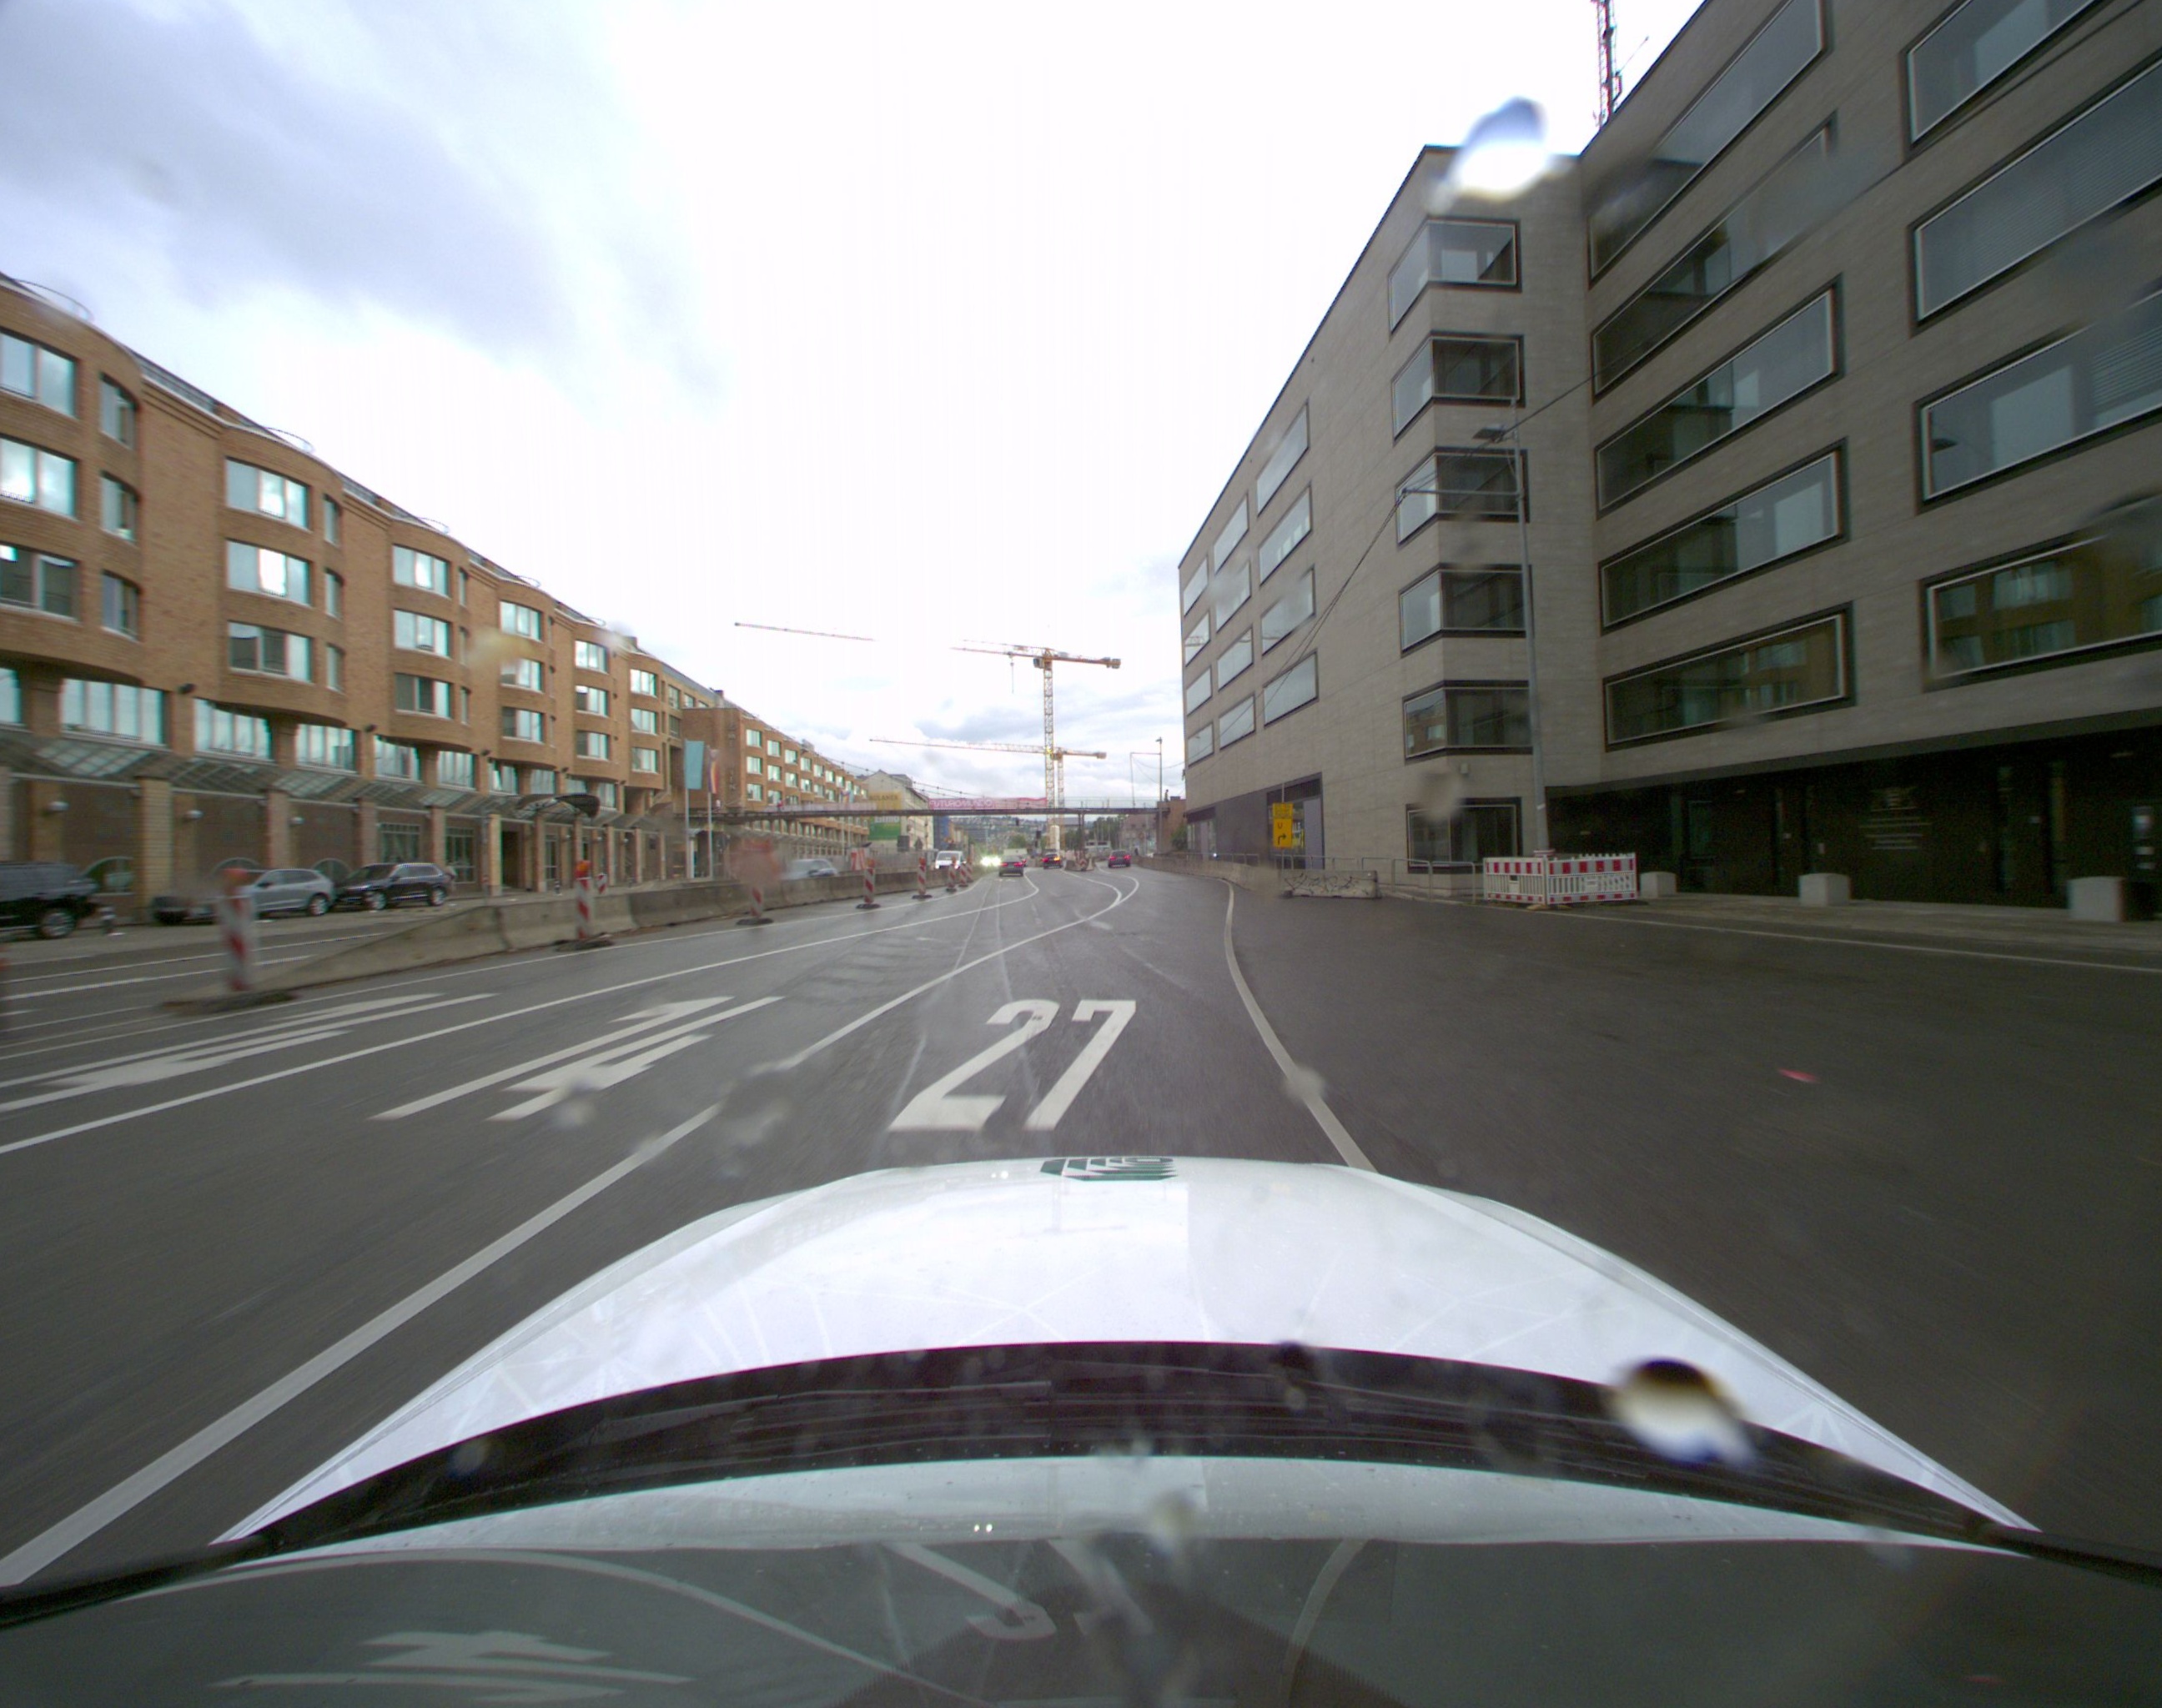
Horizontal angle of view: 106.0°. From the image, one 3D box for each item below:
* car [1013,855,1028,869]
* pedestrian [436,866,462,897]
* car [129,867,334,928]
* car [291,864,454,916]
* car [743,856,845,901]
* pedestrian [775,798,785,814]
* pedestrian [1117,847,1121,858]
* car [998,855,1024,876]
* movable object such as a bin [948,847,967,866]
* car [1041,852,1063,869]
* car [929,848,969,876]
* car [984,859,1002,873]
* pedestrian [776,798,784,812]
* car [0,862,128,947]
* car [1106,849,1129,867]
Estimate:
[{"bbox_3d":[-8.323,1.082,111.287,1.860,1.765,4.647,-1,0,-6],"label":"car"},{"bbox_3d":[-30.606,1.324,39.453,0.615,1.452,0.736,-3,0,-2],"label":"pedestrian"},{"bbox_3d":[-26.342,1.289,25.551,1.992,1.594,4.529,-1,0,-7],"label":"car"},{"bbox_3d":[-26.884,1.283,31.206,1.989,1.690,5.043,-1,0,-3],"label":"car"},{"bbox_3d":[-10.404,0.827,29.902,1.985,1.459,4.232,-1,0,3],"label":"car"},{"bbox_3d":[-27.916,-4.443,75.512,0.619,1.452,0.618,-3,0,-1],"label":"pedestrian"},{"bbox_3d":[6.882,-0.328,146.828,0.623,2.013,0.665,-2,0,7],"label":"pedestrian"},{"bbox_3d":[-5.155,0.795,60.328,1.860,1.443,4.649,-1,0,-5],"label":"car"},{"bbox_3d":[-15.697,0.342,103.573,2.025,2.277,4.281,-5,0,-8],"label":"movable object such as a bin"},{"bbox_3d":[-3.022,0.673,86.301,1.855,1.660,4.659,-1,0,3],"label":"car"},{"bbox_3d":[-9.387,0.543,58.258,1.987,1.885,4.869,-1,0,0],"label":"car"},{"bbox_3d":[-11.408,1.570,105.696,1.990,1.623,4.696,-2,1,-4],"label":"car"},{"bbox_3d":[-27.912,-4.552,75.485,0.474,1.194,0.484,-3,0,-1],"label":"pedestrian"},{"bbox_3d":[-25.427,1.184,18.496,1.992,1.886,5.001,-1,0,-7],"label":"car"},{"bbox_3d":[3.095,0.303,69.326,1.855,1.433,4.660,-1,0,3],"label":"car"}]
